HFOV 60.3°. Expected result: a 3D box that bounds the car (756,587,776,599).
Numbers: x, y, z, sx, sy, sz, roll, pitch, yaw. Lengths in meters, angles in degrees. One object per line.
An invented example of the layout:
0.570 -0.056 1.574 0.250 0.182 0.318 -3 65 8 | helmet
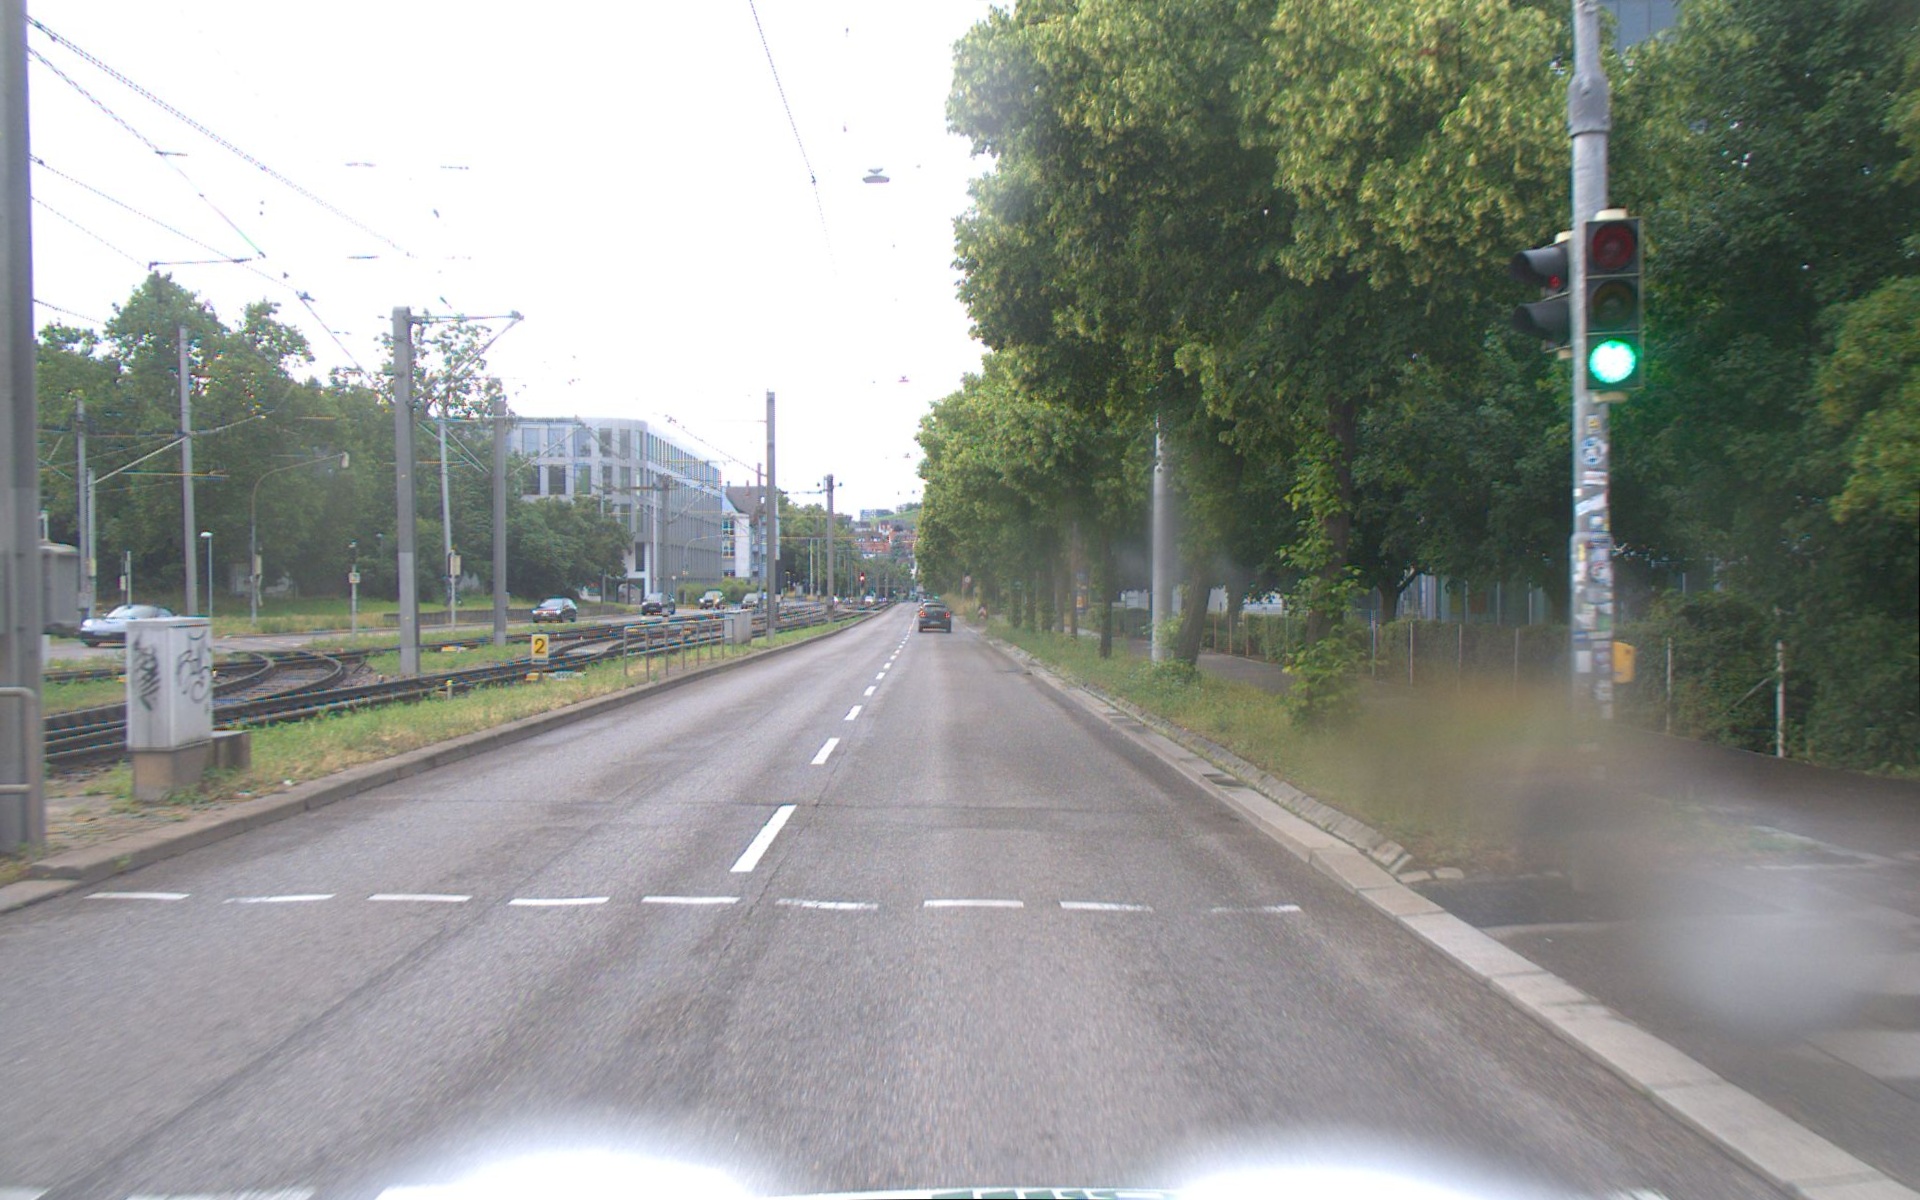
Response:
-22.924 -0.794 195.672 1.724 1.422 3.901 0 0 2 | car

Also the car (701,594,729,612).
-22.859 0.251 154.546 1.908 1.623 4.847 0 0 0 | car

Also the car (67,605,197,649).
-25.586 0.812 51.285 1.888 1.284 4.472 0 0 -2 | car

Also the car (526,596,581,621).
-24.462 0.504 99.674 1.886 1.472 4.684 0 0 3 | car

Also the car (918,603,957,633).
-1.140 0.896 83.628 1.942 1.466 4.473 0 0 -1 | car

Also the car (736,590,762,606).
-20.535 -0.214 160.732 1.852 1.512 4.309 0 0 2 | car

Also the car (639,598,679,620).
-23.317 0.668 128.418 2.046 1.617 5.159 0 0 2 | car

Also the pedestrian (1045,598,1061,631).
5.115 0.803 91.361 0.809 1.828 0.867 1 -1 -1 | pedestrian
